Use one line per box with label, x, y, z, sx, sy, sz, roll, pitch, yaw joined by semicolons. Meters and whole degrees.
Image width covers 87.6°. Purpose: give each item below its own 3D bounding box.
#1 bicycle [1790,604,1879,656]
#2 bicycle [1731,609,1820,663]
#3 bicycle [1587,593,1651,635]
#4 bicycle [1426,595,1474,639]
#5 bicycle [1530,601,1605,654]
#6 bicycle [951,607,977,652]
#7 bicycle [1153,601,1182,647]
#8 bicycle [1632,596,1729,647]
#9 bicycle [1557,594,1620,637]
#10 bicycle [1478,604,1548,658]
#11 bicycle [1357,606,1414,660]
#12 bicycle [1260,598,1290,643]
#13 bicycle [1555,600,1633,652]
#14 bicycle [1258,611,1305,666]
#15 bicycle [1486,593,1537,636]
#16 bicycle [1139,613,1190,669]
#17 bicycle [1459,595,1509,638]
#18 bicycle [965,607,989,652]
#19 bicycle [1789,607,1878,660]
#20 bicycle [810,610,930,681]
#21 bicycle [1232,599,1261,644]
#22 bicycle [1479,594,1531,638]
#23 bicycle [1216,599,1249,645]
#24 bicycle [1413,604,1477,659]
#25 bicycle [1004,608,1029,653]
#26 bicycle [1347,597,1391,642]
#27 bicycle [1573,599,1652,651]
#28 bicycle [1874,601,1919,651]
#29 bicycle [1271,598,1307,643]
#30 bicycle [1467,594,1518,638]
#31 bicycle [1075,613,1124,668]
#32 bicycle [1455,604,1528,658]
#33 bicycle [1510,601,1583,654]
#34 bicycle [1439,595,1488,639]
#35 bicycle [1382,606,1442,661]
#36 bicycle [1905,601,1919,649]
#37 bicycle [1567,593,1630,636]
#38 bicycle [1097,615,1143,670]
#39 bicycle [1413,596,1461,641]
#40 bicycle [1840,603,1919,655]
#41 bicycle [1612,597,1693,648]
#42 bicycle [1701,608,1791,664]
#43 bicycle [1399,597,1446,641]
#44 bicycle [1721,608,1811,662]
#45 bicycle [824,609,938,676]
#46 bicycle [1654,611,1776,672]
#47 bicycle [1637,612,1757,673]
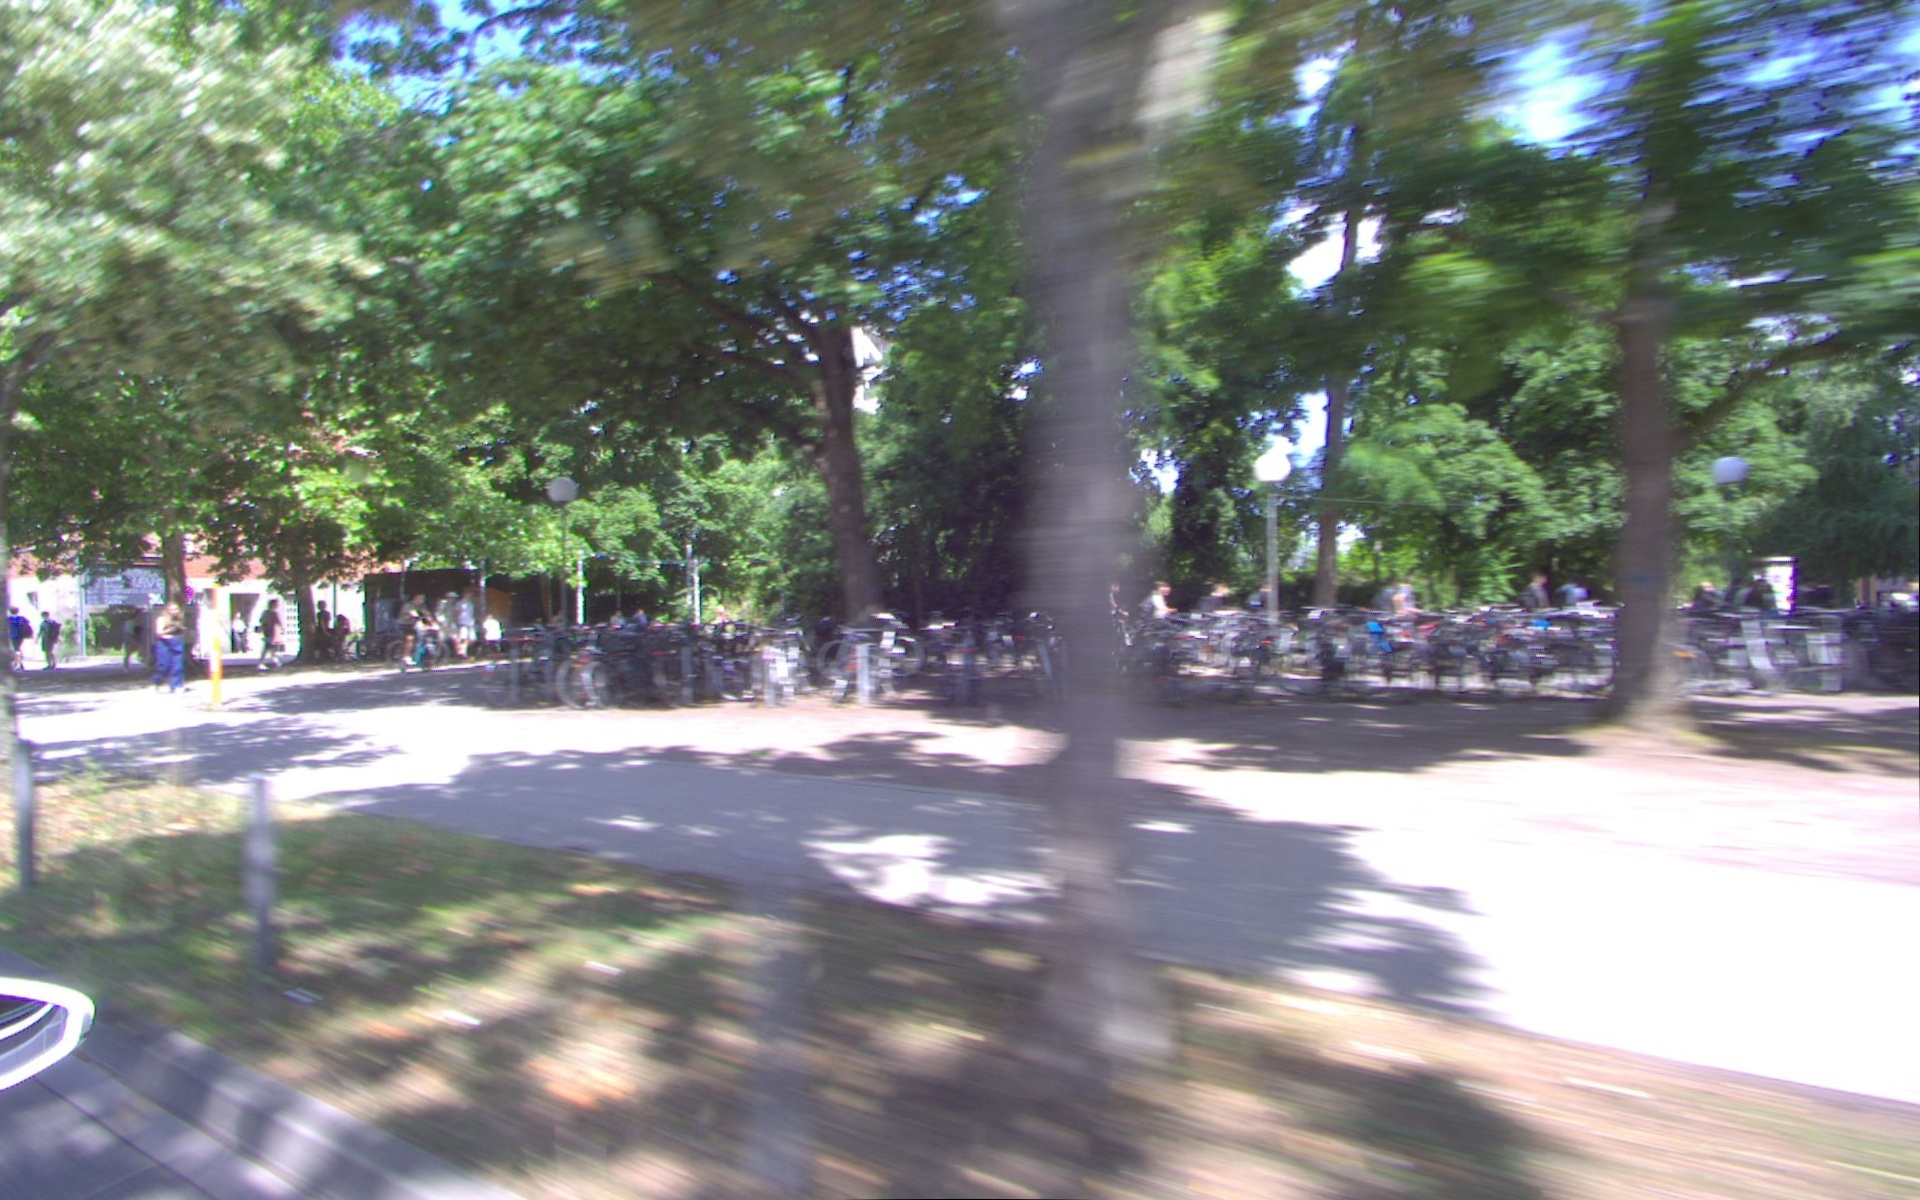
bicycle;19.316;0.666;22.142;0.347;1.097;1.465;2;-2;-28
bicycle;17.281;0.755;21.256;0.347;1.097;1.467;2;-2;-24
bicycle;17.812;0.366;27.108;0.342;1.108;1.608;-2;1;-16
bicycle;12.901;0.428;26.406;0.341;1.108;1.610;-1;1;-5
bicycle;11.999;0.520;19.830;0.371;0.992;1.903;-1;0;2
bicycle;0.109;0.750;26.025;0.469;1.108;1.752;-1;1;6
bicycle;5.315;0.596;25.672;0.469;1.108;1.611;-1;1;3
bicycle;14.844;0.420;20.686;0.372;0.992;1.799;-2;1;-14
bicycle;16.877;0.398;26.921;0.342;1.108;1.608;-2;1;-16
bicycle;10.839;0.585;19.681;0.371;0.992;1.903;-1;0;2
bicycle;8.361;0.627;19.737;0.371;0.992;1.903;-1;0;2
bicycle;8.088;0.518;25.755;0.341;1.108;1.611;-1;1;3
bicycle;12.718;0.492;20.128;0.396;0.992;1.596;-1;1;-7
bicycle;6.337;0.736;19.820;0.371;0.992;1.903;-1;0;2
bicycle;14.782;0.368;26.887;0.341;1.108;1.610;-1;1;-5
bicycle;3.963;0.777;19.494;0.371;0.992;1.903;-1;0;-7
bicycle;13.747;0.418;26.308;0.330;1.108;1.610;-1;1;-5
bicycle;0.450;0.742;25.992;0.469;1.108;1.752;-1;1;6
bicycle;18.636;0.713;21.400;0.346;1.097;1.469;2;-2;-17
bicycle;-1.465;0.736;16.285;1.868;1.097;0.478;-1;1;12
bicycle;7.353;0.541;25.753;0.341;1.108;1.611;-1;1;3
bicycle;14.326;0.401;26.348;0.341;1.108;1.610;-1;1;-5
bicycle;7.007;0.550;25.767;0.469;1.108;1.611;-1;1;3
bicycle;9.483;0.590;19.643;0.371;0.992;1.903;-1;0;2
bicycle;1.483;0.769;26.119;0.341;1.108;1.609;-1;1;13
bicycle;10.317;0.478;25.284;0.341;1.108;1.611;-1;1;-3
bicycle;13.117;0.480;20.172;0.396;0.992;1.596;-1;1;-7
bicycle;21.580;0.587;22.365;0.471;1.097;1.682;2;-2;-25
bicycle;8.438;0.510;25.738;0.469;1.108;1.611;-1;1;3
bicycle;13.983;0.411;26.346;0.341;1.108;1.610;-1;1;-5
bicycle;2.738;0.780;19.781;0.469;0.992;1.903;-1;0;-7
bicycle;10.430;0.580;19.702;0.469;0.992;1.903;-1;0;2
bicycle;11.585;0.521;19.846;0.371;0.992;1.903;-1;0;2
bicycle;13.268;0.427;26.409;0.341;1.108;1.610;-1;1;-5
bicycle;8.766;0.619;19.483;0.371;0.992;1.903;-1;0;2
bicycle;22.402;0.561;22.484;0.471;1.097;1.682;2;-2;-25
bicycle;17.203;0.385;27.024;0.342;1.108;1.608;-2;1;-16
bicycle;3.168;0.825;19.948;0.371;0.992;1.903;-1;0;-7
bicycle;12.327;0.462;25.933;0.341;1.108;1.610;-1;1;-5
bicycle;20.443;0.640;22.007;0.470;1.097;1.687;2;-2;-14
bicycle;14.151;0.442;20.508;0.396;0.992;1.596;-1;1;-7
bicycle;16.145;0.746;20.598;0.347;1.097;1.467;2;-2;-23
bicycle;11.948;0.472;25.918;0.341;1.108;1.610;-1;1;-5
bicycle;16.962;0.738;21.105;0.347;1.097;1.467;2;-2;-24
bicycle;-1.351;0.730;17.129;1.868;1.097;0.478;-1;1;12
bicycle;13.412;0.712;17.858;0.469;0.992;1.902;-2;1;-11
bicycle;13.042;0.721;17.791;0.469;0.992;1.902;-2;1;-11
